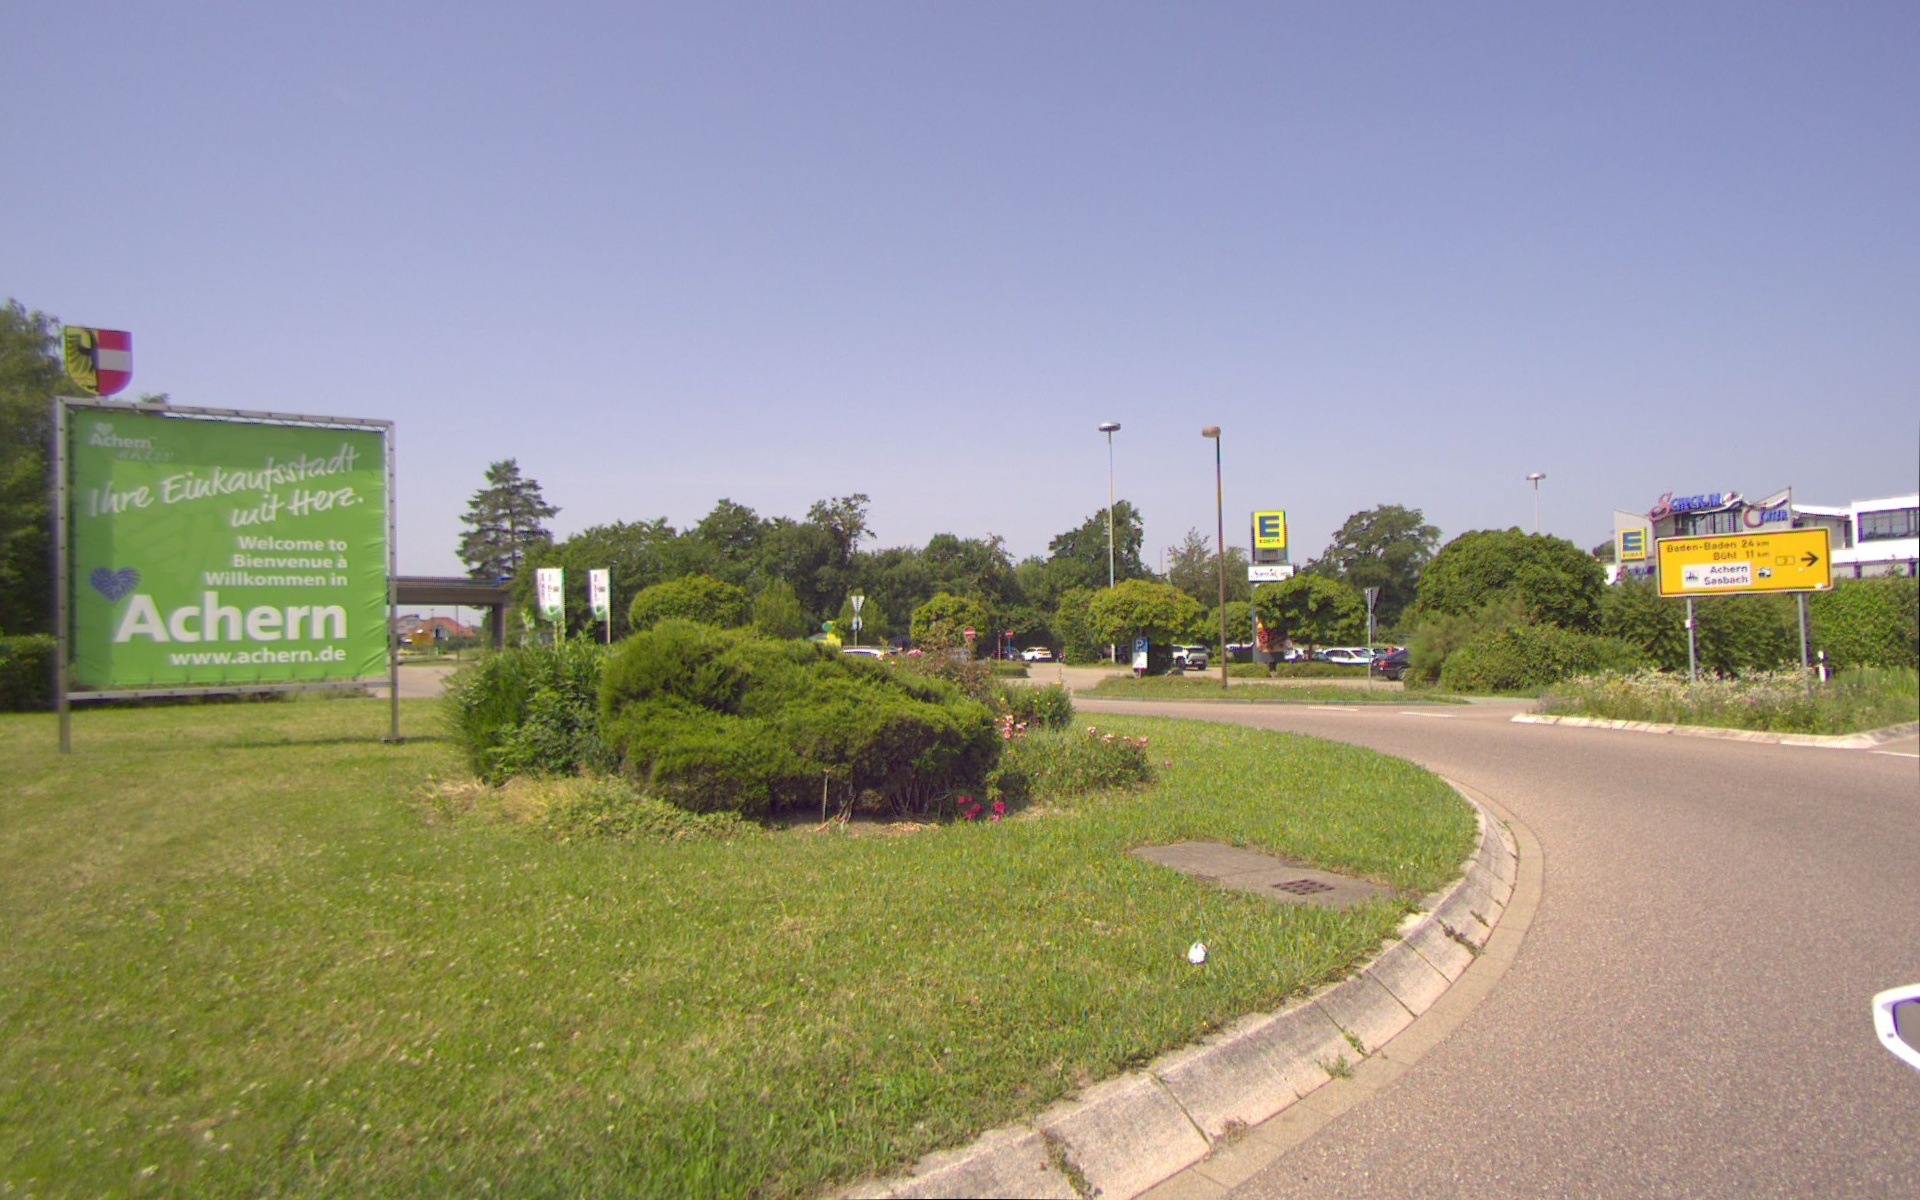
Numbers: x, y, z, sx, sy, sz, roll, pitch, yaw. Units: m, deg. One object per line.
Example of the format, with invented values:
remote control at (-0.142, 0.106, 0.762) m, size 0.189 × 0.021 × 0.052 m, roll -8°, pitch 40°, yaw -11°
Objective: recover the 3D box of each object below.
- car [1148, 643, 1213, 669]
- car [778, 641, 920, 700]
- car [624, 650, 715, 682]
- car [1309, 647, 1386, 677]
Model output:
car at (14.015, 3.531, 64.025) m, size 1.954 × 1.536 × 3.971 m, roll 2°, pitch -2°, yaw -28°
car at (-3.351, 2.083, 30.298) m, size 3.925 × 1.572 × 1.790 m, roll 0°, pitch -2°, yaw 26°
car at (-15.791, 3.567, 54.682) m, size 4.361 × 1.582 × 1.859 m, roll 2°, pitch -2°, yaw -35°
car at (21.356, 3.390, 55.523) m, size 1.967 × 1.594 × 3.988 m, roll 1°, pitch -3°, yaw -15°
